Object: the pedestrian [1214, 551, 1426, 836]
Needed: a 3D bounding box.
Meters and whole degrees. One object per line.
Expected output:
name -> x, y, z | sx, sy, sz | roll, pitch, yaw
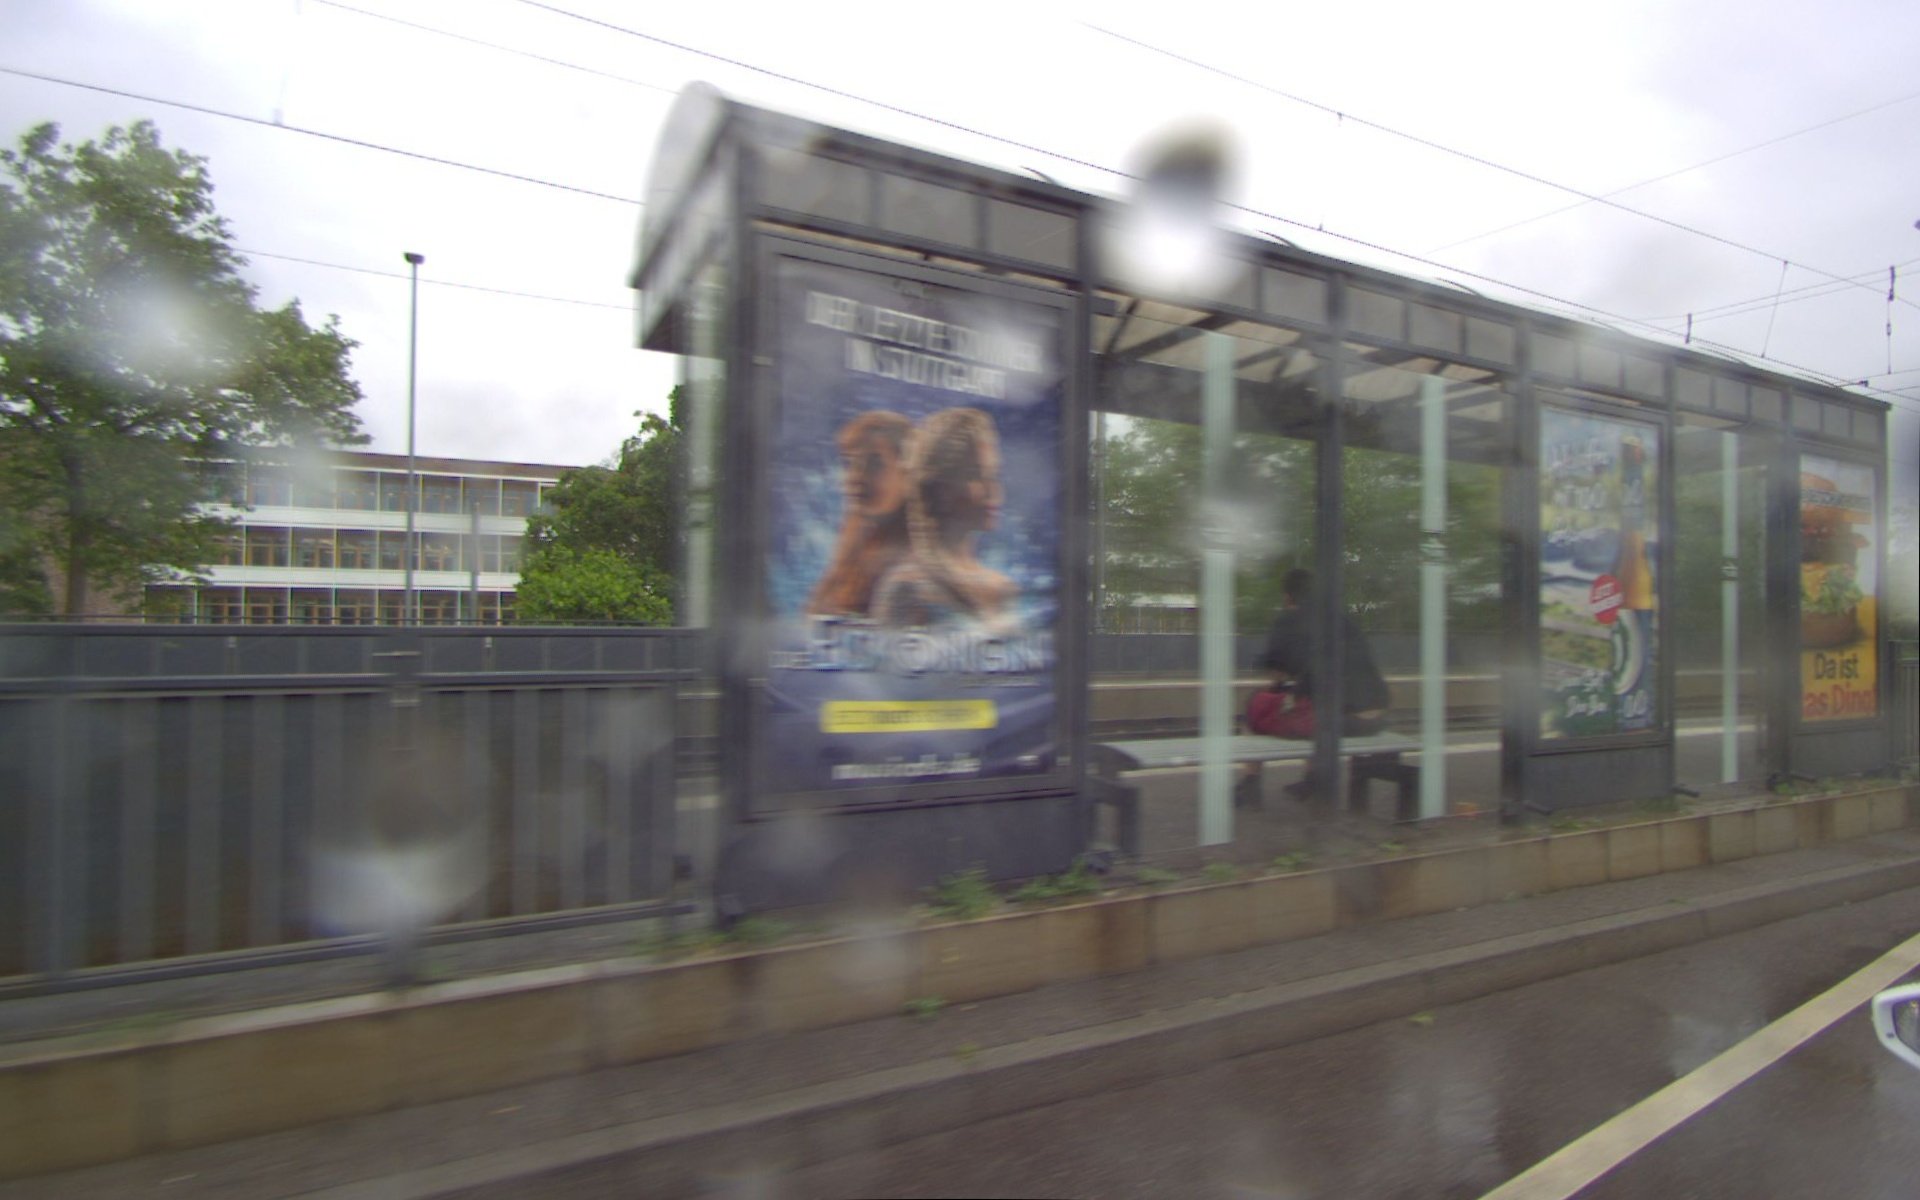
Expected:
pedestrian -> 1.876, 0.451, 5.297 | 0.651, 1.358, 0.810 | 1, 0, -28
